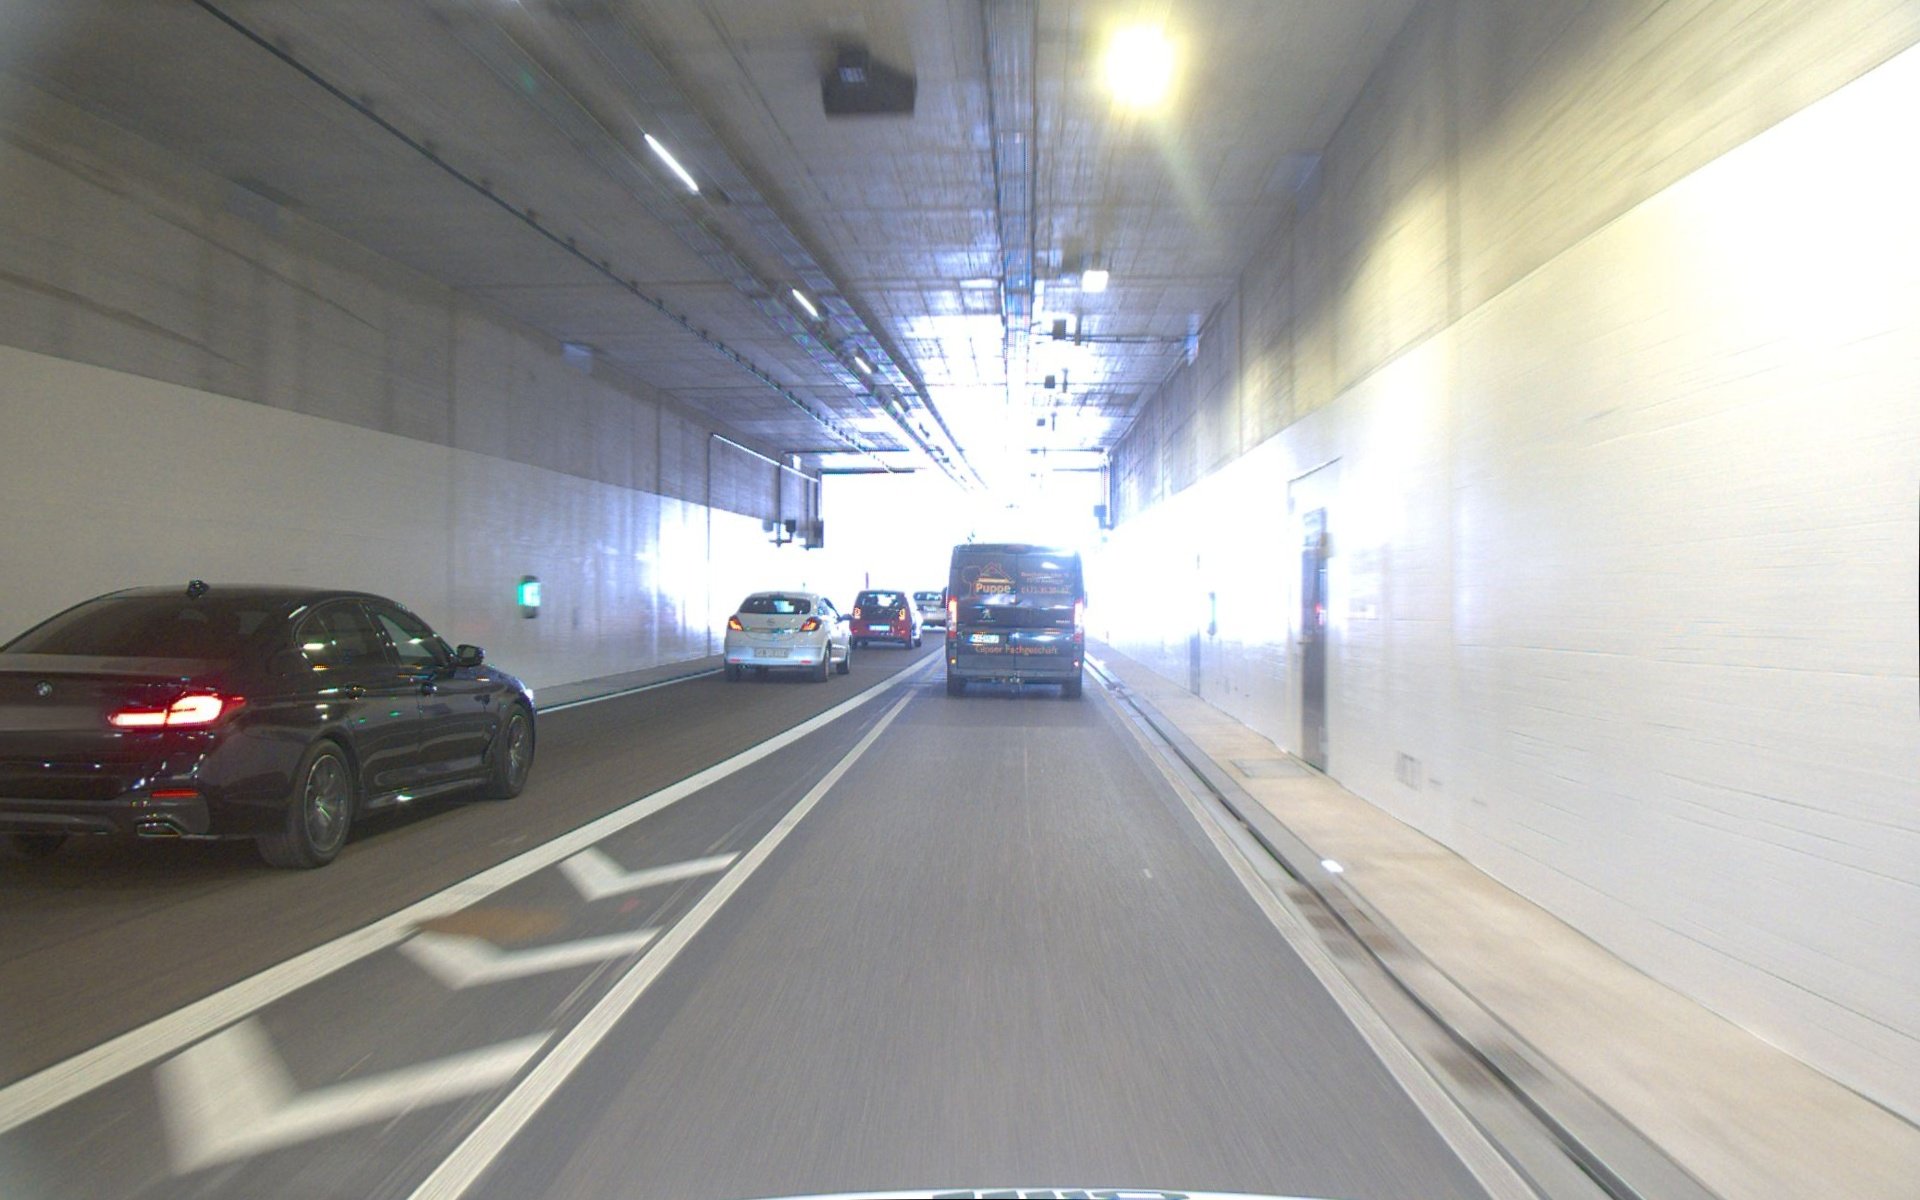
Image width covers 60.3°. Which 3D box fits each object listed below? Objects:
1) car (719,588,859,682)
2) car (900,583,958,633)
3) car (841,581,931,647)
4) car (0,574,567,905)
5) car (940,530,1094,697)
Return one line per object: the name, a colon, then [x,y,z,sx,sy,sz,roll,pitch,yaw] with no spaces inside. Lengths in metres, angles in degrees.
car: [-2.799,0.529,27.816,1.673,1.438,3.976,1,1,4]
car: [-1.036,0.294,57.427,1.838,1.609,4.221,2,-1,1]
car: [-1.844,0.319,42.321,1.776,1.538,4.223,2,1,4]
car: [-3.994,0.614,10.017,1.660,1.447,4.854,2,1,5]
car: [0.872,0.165,25.527,2.114,2.305,4.638,1,1,2]
